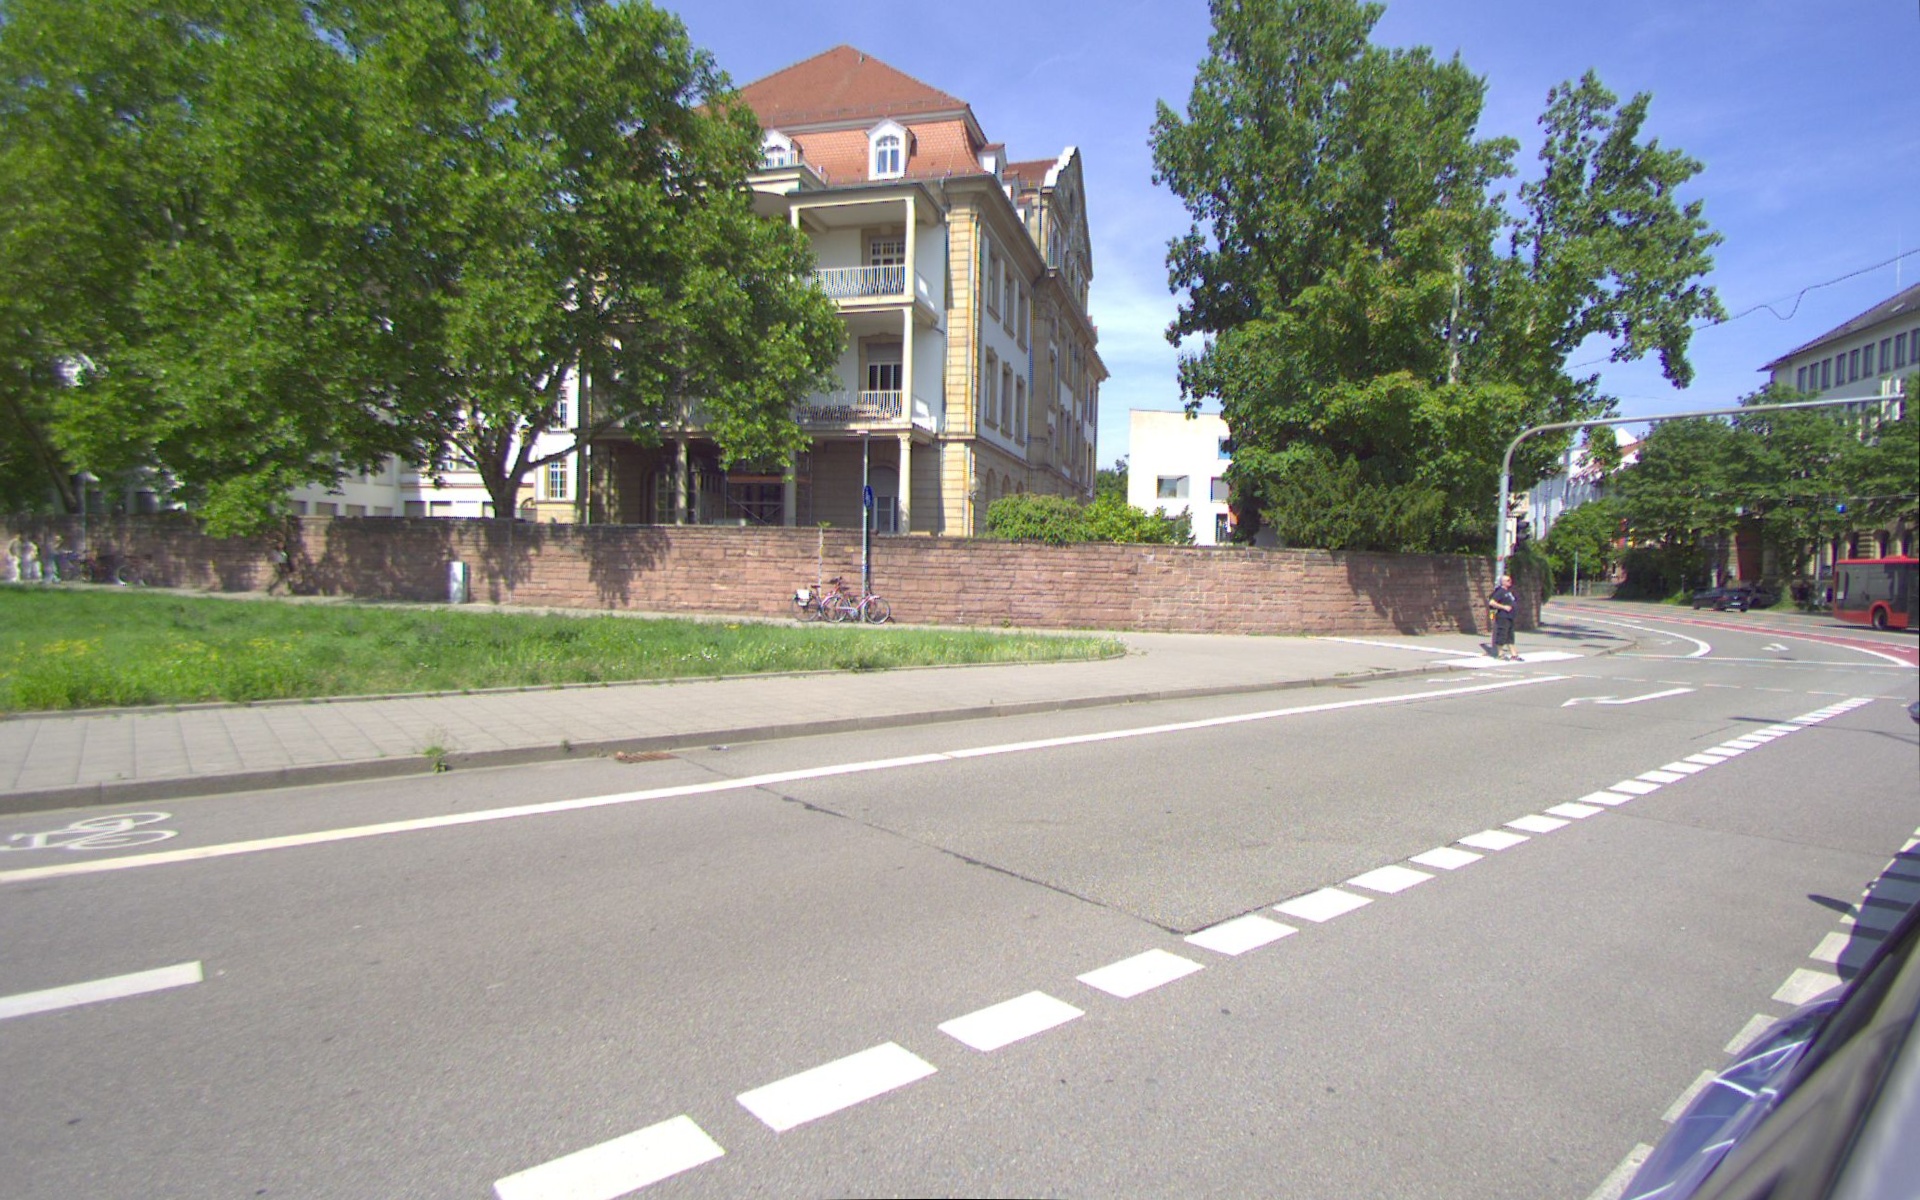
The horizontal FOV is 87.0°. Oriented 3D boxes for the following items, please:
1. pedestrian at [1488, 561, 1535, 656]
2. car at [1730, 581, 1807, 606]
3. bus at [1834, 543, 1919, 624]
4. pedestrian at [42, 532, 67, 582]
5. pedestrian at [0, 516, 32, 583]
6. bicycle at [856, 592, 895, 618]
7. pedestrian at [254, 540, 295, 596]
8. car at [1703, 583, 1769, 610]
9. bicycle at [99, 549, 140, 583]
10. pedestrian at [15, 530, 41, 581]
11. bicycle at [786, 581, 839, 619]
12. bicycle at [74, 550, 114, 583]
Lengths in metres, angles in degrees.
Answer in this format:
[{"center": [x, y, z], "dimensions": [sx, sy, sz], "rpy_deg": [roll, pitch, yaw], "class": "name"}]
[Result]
[{"center": [12.165, 0.172, 22.331], "dimensions": [0.790, 2.038, 0.608], "rpy_deg": [2, 1, 35], "class": "pedestrian"}, {"center": [59.673, -0.499, 74.739], "dimensions": [3.941, 1.682, 1.993], "rpy_deg": [0, 3, 14], "class": "car"}, {"center": [38.218, -0.632, 37.750], "dimensions": [3.086, 3.133, 12.362], "rpy_deg": [0, 1, 13], "class": "bus"}, {"center": [-29.477, -1.397, 32.948], "dimensions": [0.700, 1.597, 0.516], "rpy_deg": [3, 3, 41], "class": "pedestrian"}, {"center": [-29.235, -1.573, 31.298], "dimensions": [0.586, 2.038, 0.522], "rpy_deg": [1, 2, 9], "class": "pedestrian"}, {"center": [-2.085, 0.131, 25.015], "dimensions": [0.929, 0.609, 0.275], "rpy_deg": [2, 2, -2], "class": "bicycle"}, {"center": [-19.635, -0.921, 28.983], "dimensions": [0.900, 1.567, 0.501], "rpy_deg": [2, 2, 13], "class": "pedestrian"}, {"center": [48.620, -0.213, 63.523], "dimensions": [1.973, 1.638, 3.978], "rpy_deg": [0, 0, 17], "class": "car"}, {"center": [-27.366, -1.100, 32.963], "dimensions": [1.432, 1.046, 0.444], "rpy_deg": [3, 2, 24], "class": "bicycle"}, {"center": [-29.807, -1.422, 32.368], "dimensions": [0.700, 1.597, 0.516], "rpy_deg": [3, 3, 41], "class": "pedestrian"}, {"center": [-3.591, 0.006, 24.686], "dimensions": [1.202, 0.894, 0.395], "rpy_deg": [1, 2, -21], "class": "bicycle"}, {"center": [-28.820, -1.126, 33.675], "dimensions": [1.432, 1.046, 0.444], "rpy_deg": [3, 2, 24], "class": "bicycle"}]
